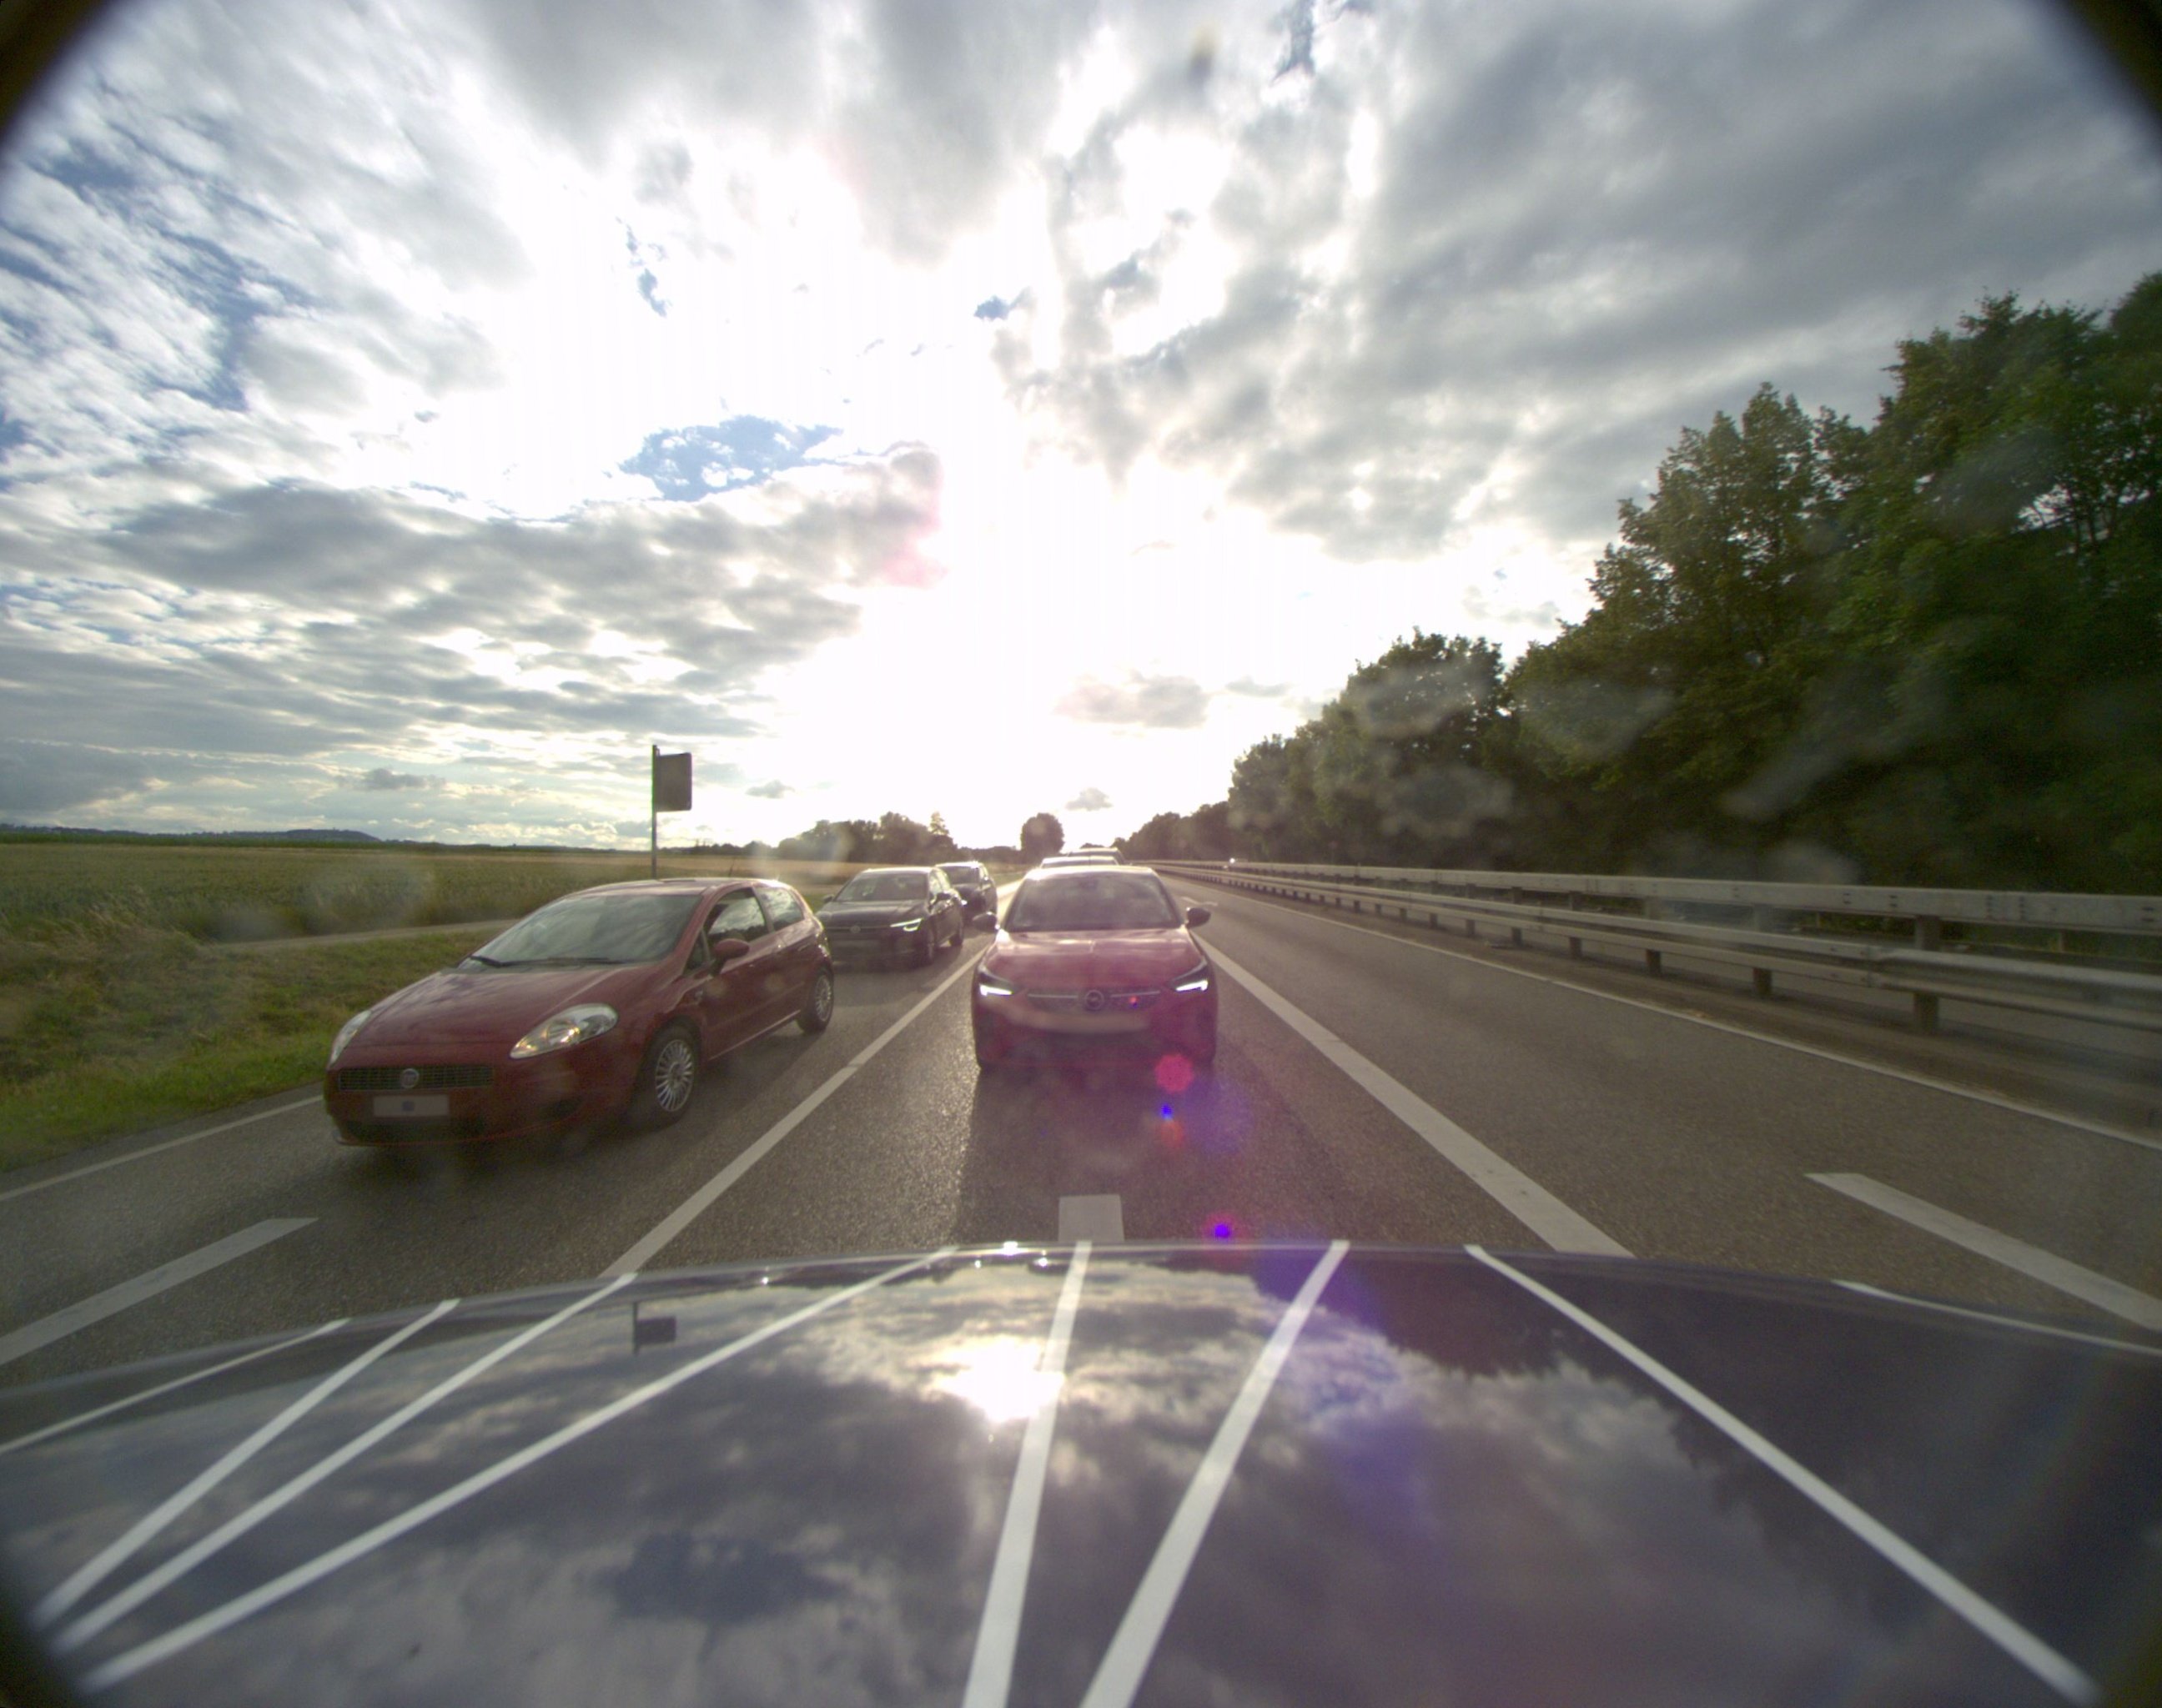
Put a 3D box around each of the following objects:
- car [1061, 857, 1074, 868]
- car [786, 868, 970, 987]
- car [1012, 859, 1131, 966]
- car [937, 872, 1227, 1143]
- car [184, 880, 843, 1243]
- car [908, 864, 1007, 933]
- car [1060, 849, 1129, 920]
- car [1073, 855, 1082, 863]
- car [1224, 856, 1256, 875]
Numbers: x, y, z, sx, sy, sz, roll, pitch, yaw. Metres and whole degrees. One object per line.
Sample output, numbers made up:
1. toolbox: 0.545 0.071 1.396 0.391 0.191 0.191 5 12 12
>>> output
1. car: -2.095 1.315 116.900 1.751 1.550 3.731 -2 1 1
2. car: -3.056 1.038 12.352 1.799 1.448 4.032 -2 1 1
3. car: -0.112 0.884 13.308 1.712 1.448 4.061 -2 1 1
4. car: 0.039 0.988 6.671 1.712 1.448 4.061 -2 1 1
5. car: -3.251 1.040 5.489 1.712 1.448 3.908 -2 1 1
6. car: -3.058 1.051 19.685 1.799 1.448 4.032 -2 1 1
7. car: 0.368 0.754 21.156 1.671 1.730 4.032 -2 1 1
8. car: -0.683 0.936 148.427 1.751 1.550 3.731 -2 1 -1
9. car: 13.608 0.947 65.141 1.920 1.448 4.373 -2 1 2
